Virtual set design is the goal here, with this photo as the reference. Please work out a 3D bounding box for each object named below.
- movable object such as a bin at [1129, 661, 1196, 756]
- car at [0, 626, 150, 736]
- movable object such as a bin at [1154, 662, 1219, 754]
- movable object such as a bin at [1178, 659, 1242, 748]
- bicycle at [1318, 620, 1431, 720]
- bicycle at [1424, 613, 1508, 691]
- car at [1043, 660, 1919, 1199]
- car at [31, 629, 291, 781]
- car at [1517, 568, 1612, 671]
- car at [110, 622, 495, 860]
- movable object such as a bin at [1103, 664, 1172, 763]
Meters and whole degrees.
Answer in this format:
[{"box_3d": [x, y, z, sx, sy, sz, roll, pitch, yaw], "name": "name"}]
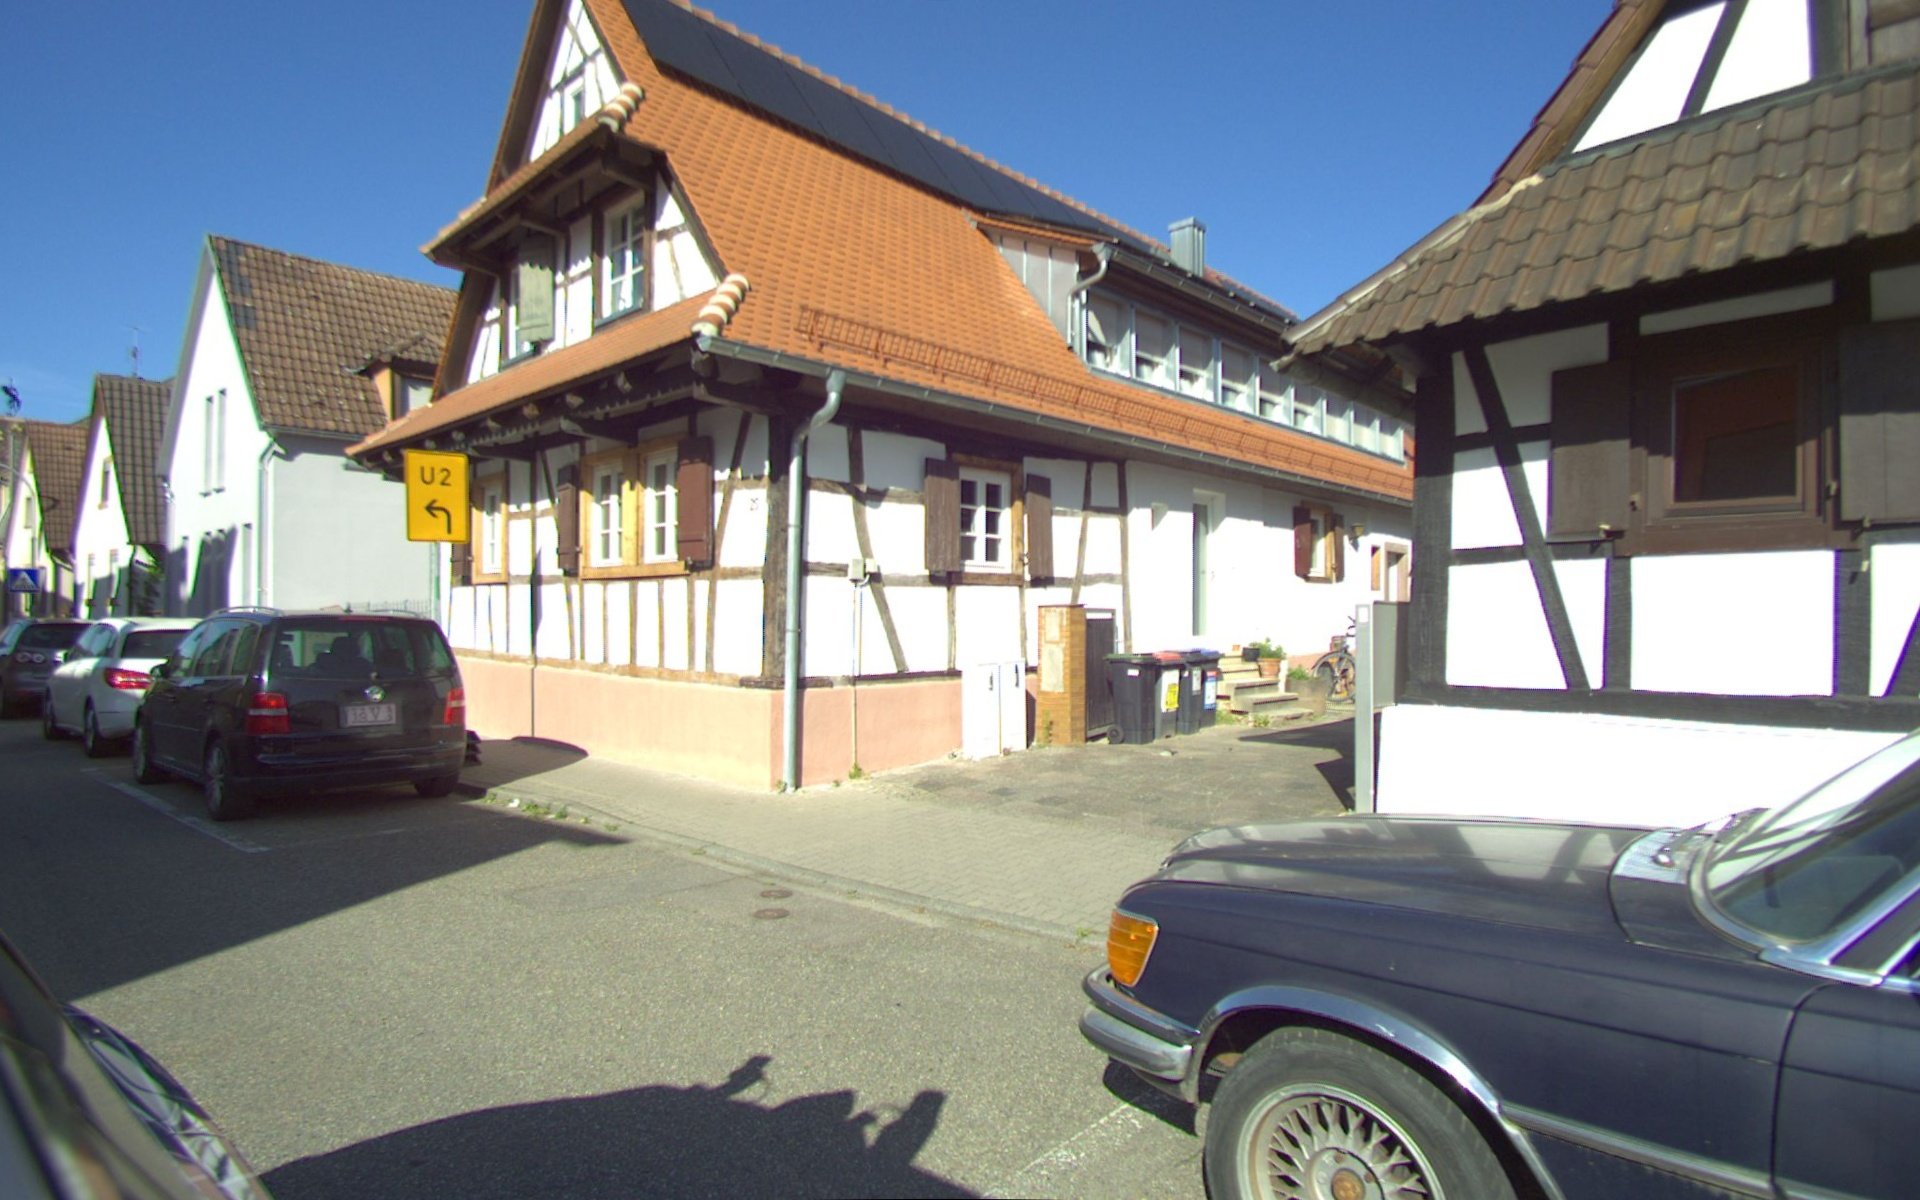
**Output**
[{"box_3d": [2.169, 1.147, 10.829, 0.524, 0.950, 0.465, -1, -1, 45], "name": "movable object such as a bin"}, {"box_3d": [-15.208, 1.268, 16.944, 3.995, 1.626, 1.725, -2, -3, 39], "name": "car"}, {"box_3d": [2.504, 1.175, 11.188, 0.524, 0.950, 0.465, -1, -1, 45], "name": "movable object such as a bin"}, {"box_3d": [2.850, 1.169, 11.541, 0.524, 0.950, 0.465, -1, -1, 45], "name": "movable object such as a bin"}, {"box_3d": [6.006, 0.955, 14.585, 0.739, 1.253, 2.213, -1, 0, 43], "name": "bicycle"}, {"box_3d": [9.230, 0.914, 18.406, 0.739, 1.253, 2.213, -1, 0, 43], "name": "bicycle"}, {"box_3d": [2.677, 0.832, 1.413, 5.034, 1.417, 1.825, -2, -4, 41], "name": "car"}, {"box_3d": [-10.024, 1.158, 12.586, 4.166, 1.579, 1.797, -2, -3, 41], "name": "car"}, {"box_3d": [16.316, 0.450, 27.243, 1.799, 2.551, 3.951, -2, 0, 36], "name": "car"}, {"box_3d": [-5.998, 1.045, 9.015, 4.359, 1.617, 1.765, -2, -3, 41], "name": "car"}, {"box_3d": [1.838, 1.160, 10.465, 0.524, 0.950, 0.465, -1, -1, 45], "name": "movable object such as a bin"}]
